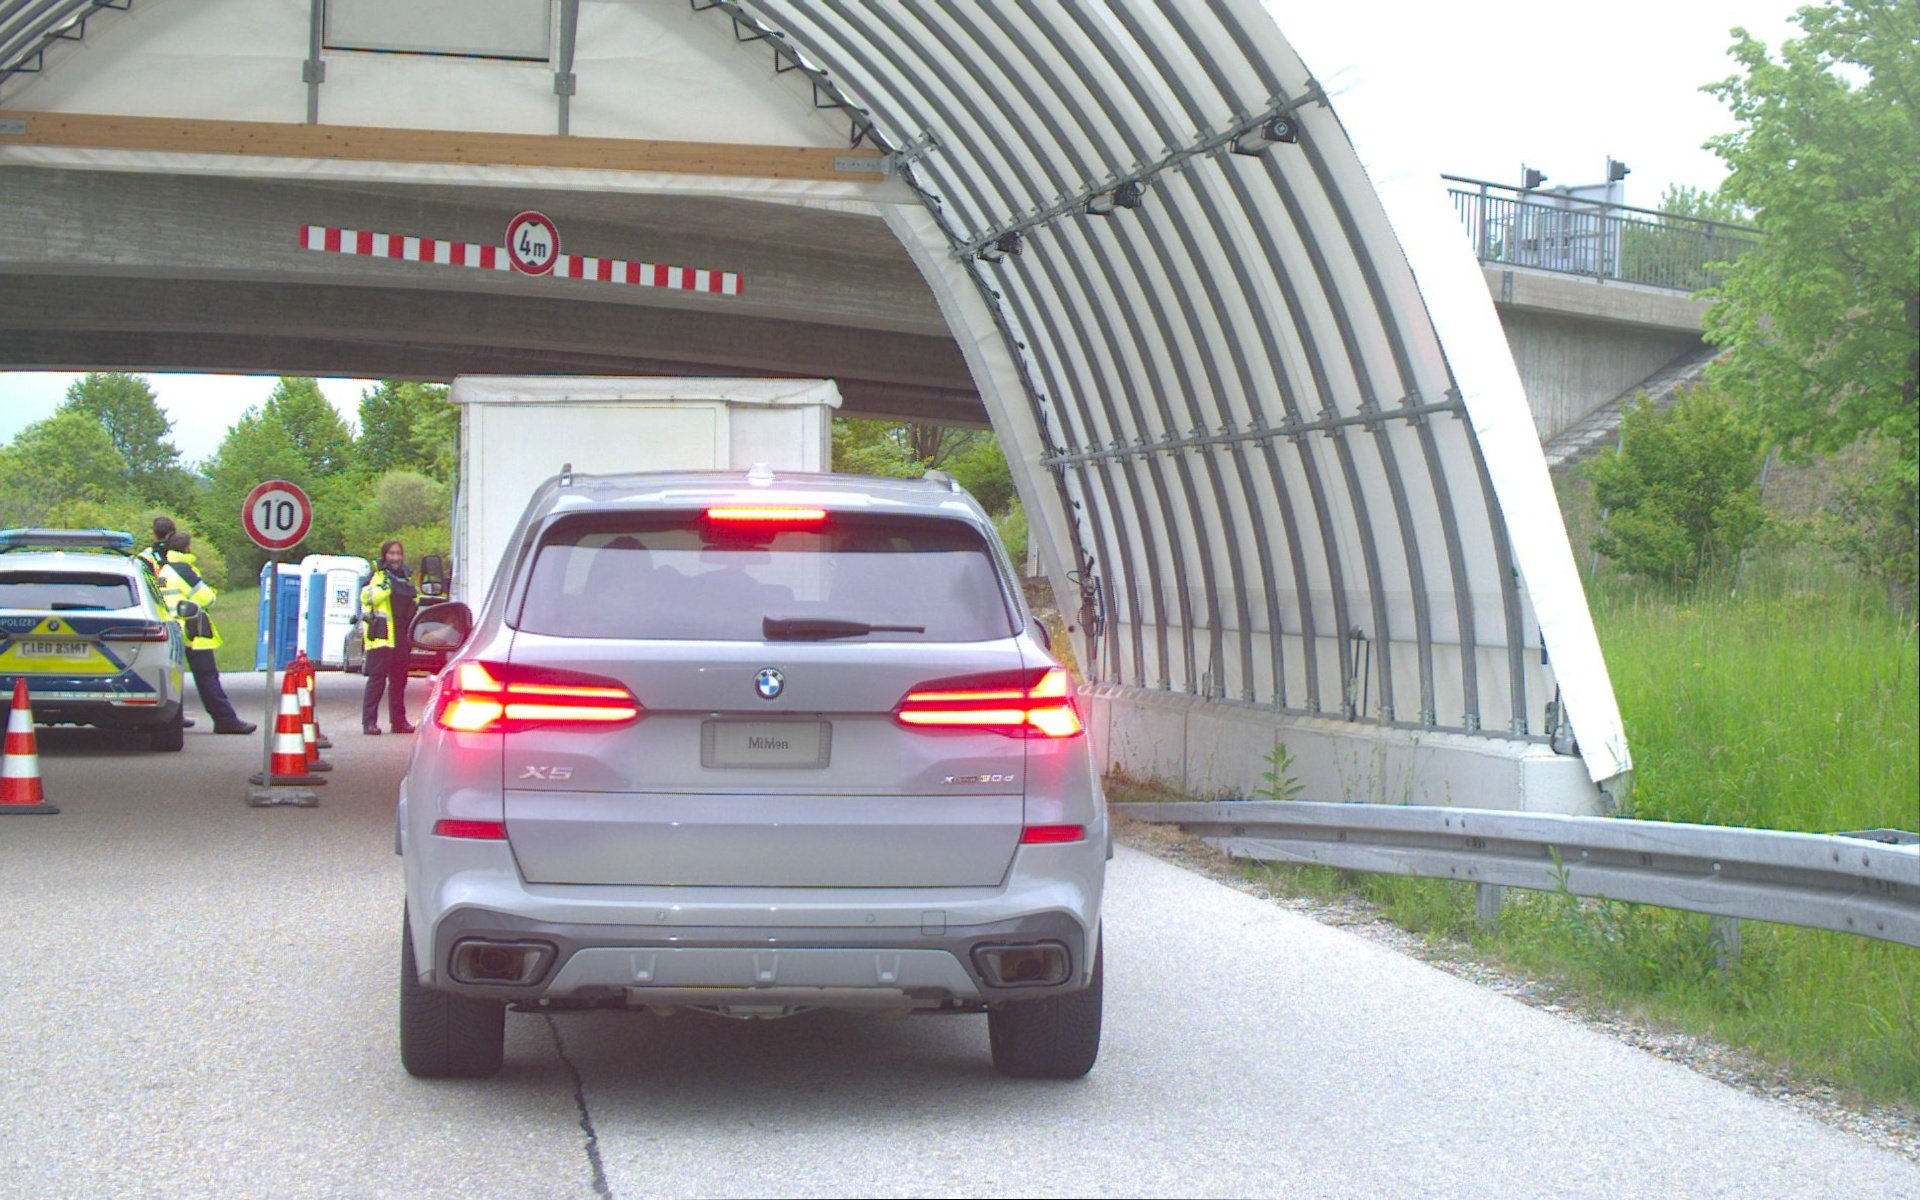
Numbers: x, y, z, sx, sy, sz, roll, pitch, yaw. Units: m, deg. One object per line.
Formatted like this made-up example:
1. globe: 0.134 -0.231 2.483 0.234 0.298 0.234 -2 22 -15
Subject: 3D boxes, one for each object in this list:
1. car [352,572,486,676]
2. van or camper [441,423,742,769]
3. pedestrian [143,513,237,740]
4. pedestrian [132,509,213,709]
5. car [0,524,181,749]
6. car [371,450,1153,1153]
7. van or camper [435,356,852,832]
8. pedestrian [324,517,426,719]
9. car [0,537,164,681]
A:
1. car: -9.292 0.382 58.796 1.993 1.716 3.897 0 0 -13
2. van or camper: -3.099 -0.055 27.876 2.103 2.510 5.552 0 0 -9
3. pedestrian: -6.575 0.218 29.331 0.749 1.912 0.763 0 0 -15
4. pedestrian: -6.955 0.077 30.395 0.609 1.748 0.666 0 0 -6
5. car: -7.178 0.250 27.146 1.877 1.641 4.001 0 0 -15
6. car: -0.806 0.485 10.738 1.993 1.759 4.001 0 0 -9
7. van or camper: -2.192 -0.061 21.800 2.229 2.543 6.612 0 0 -9
8. pedestrian: -5.063 0.147 29.736 0.754 1.716 0.782 0 0 -18
9. car: -14.067 0.111 49.341 4.807 2.007 1.840 0 0 7
